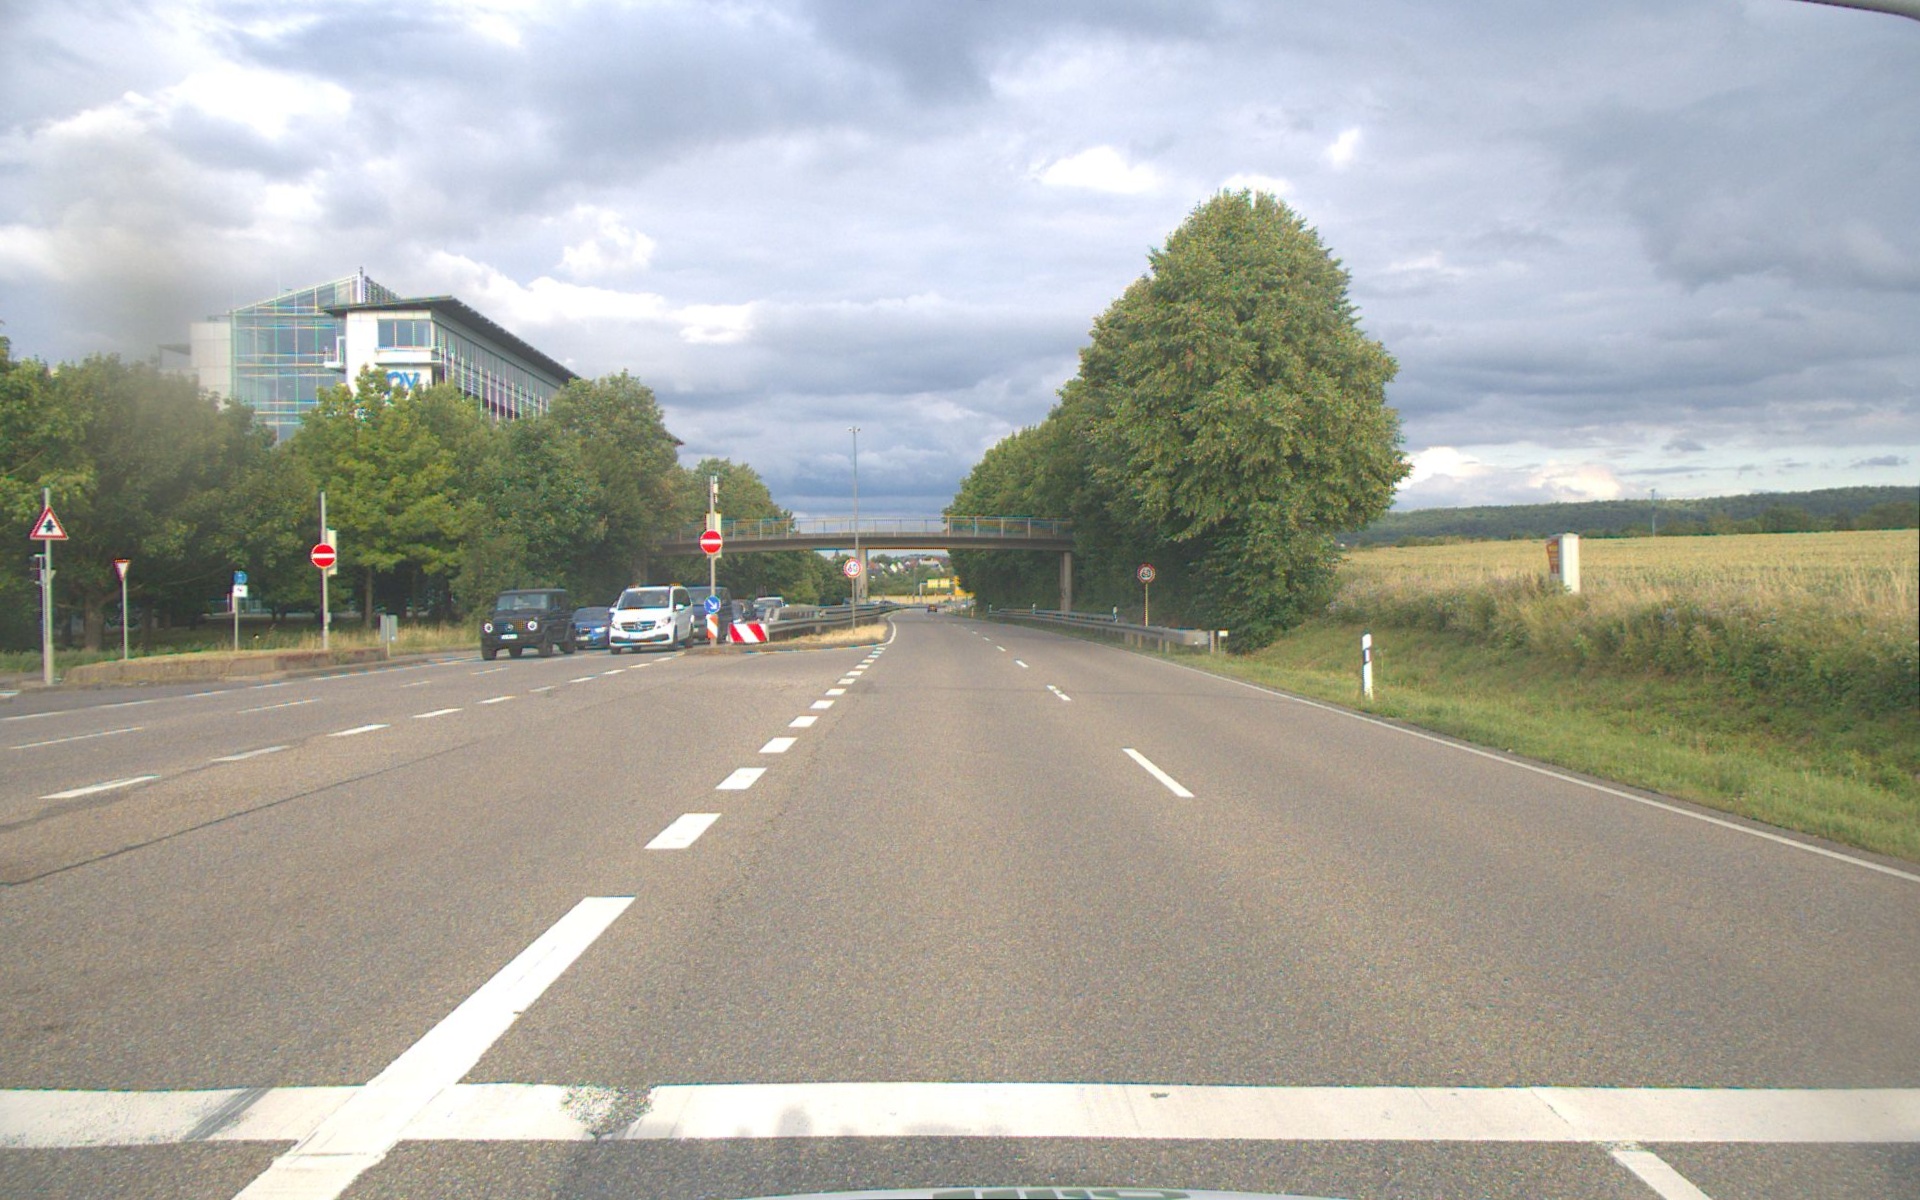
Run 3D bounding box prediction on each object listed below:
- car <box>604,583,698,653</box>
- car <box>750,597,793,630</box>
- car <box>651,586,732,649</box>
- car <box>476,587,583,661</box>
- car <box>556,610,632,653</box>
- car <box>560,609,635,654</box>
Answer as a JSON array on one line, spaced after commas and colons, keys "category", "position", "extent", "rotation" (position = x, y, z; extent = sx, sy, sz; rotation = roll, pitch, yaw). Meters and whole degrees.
[{"category": "car", "position": [-9.146, 0.522, 49.405], "extent": [1.895, 1.905, 5.345], "rotation": [-2, 0, -2]}, {"category": "car", "position": [-9.670, 0.687, 85.221], "extent": [1.786, 1.612, 4.789], "rotation": [-2, 0, -2]}, {"category": "car", "position": [-9.166, 0.580, 56.890], "extent": [1.860, 1.950, 5.050], "rotation": [-4, 0, 0]}, {"category": "car", "position": [-12.727, 0.679, 49.214], "extent": [1.895, 2.025, 5.089], "rotation": [-2, 0, -2]}, {"category": "car", "position": [-12.363, 1.047, 56.066], "extent": [1.687, 1.261, 3.999], "rotation": [-4, 0, -2]}, {"category": "car", "position": [-12.245, 1.055, 56.090], "extent": [1.614, 1.412, 4.185], "rotation": [-2, 0, 0]}]
